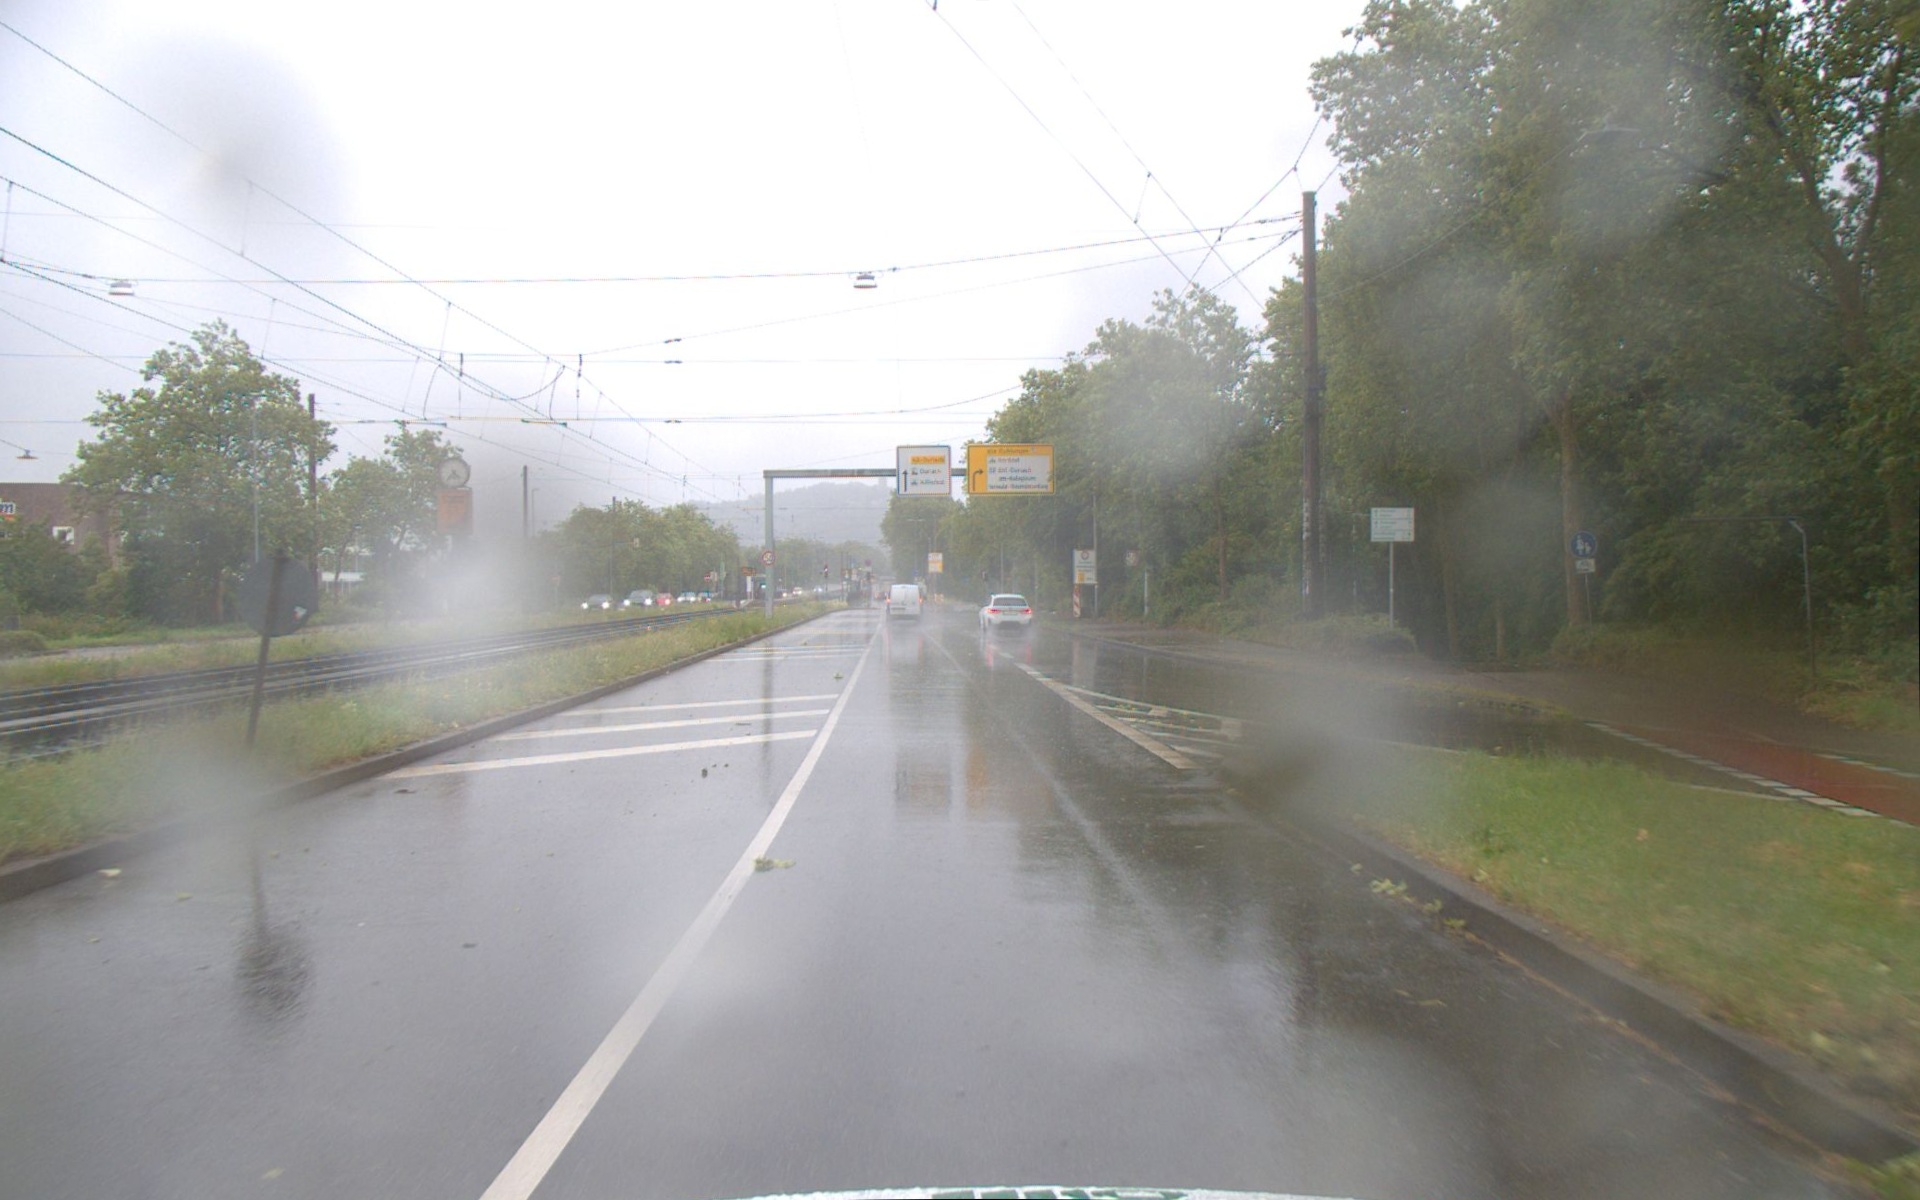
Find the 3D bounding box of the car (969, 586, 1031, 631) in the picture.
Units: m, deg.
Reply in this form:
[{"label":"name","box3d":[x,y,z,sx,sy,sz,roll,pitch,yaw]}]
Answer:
[{"label":"car","box3d":[1.441,0.285,60.743,1.909,1.563,4.464,0,0,-3]}]

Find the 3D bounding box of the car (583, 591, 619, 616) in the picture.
[{"label":"car","box3d":[-25.189,0.207,116.198,1.905,1.716,4.775,-1,1,-5]}]

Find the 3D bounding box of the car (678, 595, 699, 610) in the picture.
[{"label":"car","box3d":[-27.764,0.260,169.239,1.686,1.520,3.997,0,0,-3]}]

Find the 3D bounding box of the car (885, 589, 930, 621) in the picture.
[{"label":"car","box3d":[-2.448,0.226,76.816,2.036,1.445,3.998,0,0,-2]}]

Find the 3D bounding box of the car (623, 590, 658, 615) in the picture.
[{"label":"car","box3d":[-22.068,0.160,114.432,1.906,1.644,4.982,-1,1,-6]}]

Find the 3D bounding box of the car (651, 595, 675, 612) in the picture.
[{"label":"car","box3d":[-27.182,0.311,151.309,1.686,1.520,3.997,0,0,-3]}]
